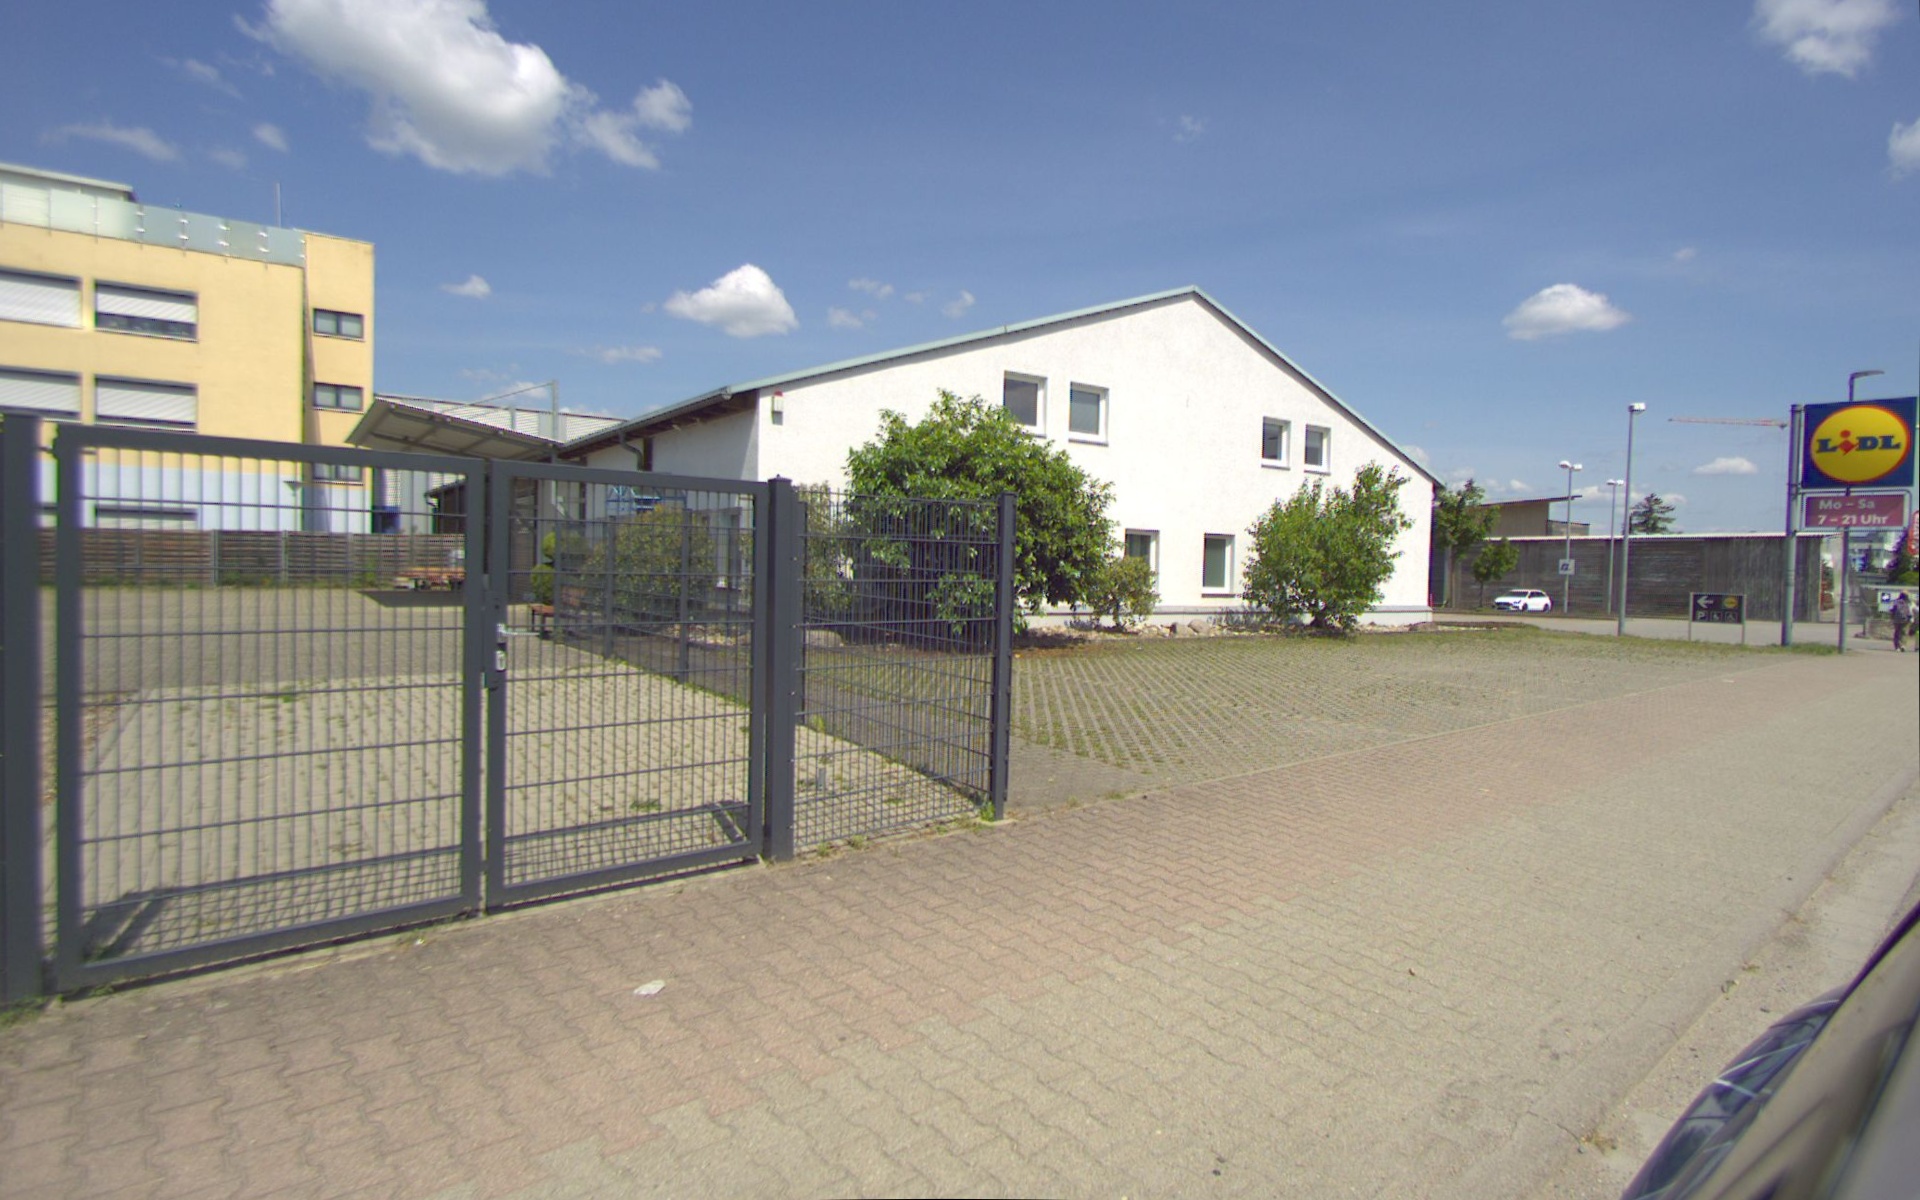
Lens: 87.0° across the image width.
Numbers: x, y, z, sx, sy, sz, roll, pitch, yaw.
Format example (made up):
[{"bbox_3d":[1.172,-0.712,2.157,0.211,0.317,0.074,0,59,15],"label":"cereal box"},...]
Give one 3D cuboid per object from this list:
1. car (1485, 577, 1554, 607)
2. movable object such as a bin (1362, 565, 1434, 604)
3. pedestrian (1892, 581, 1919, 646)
[{"bbox_3d":[34.296,-0.464,62.004,4.353,1.683,2.000,1,1,-35],"label":"car"},{"bbox_3d":[27.196,-0.957,62.857,4.430,2.231,1.688,1,2,-29],"label":"movable object such as a bin"},{"bbox_3d":[24.622,0.345,26.056,1.190,1.621,0.762,0,3,-44],"label":"pedestrian"}]
